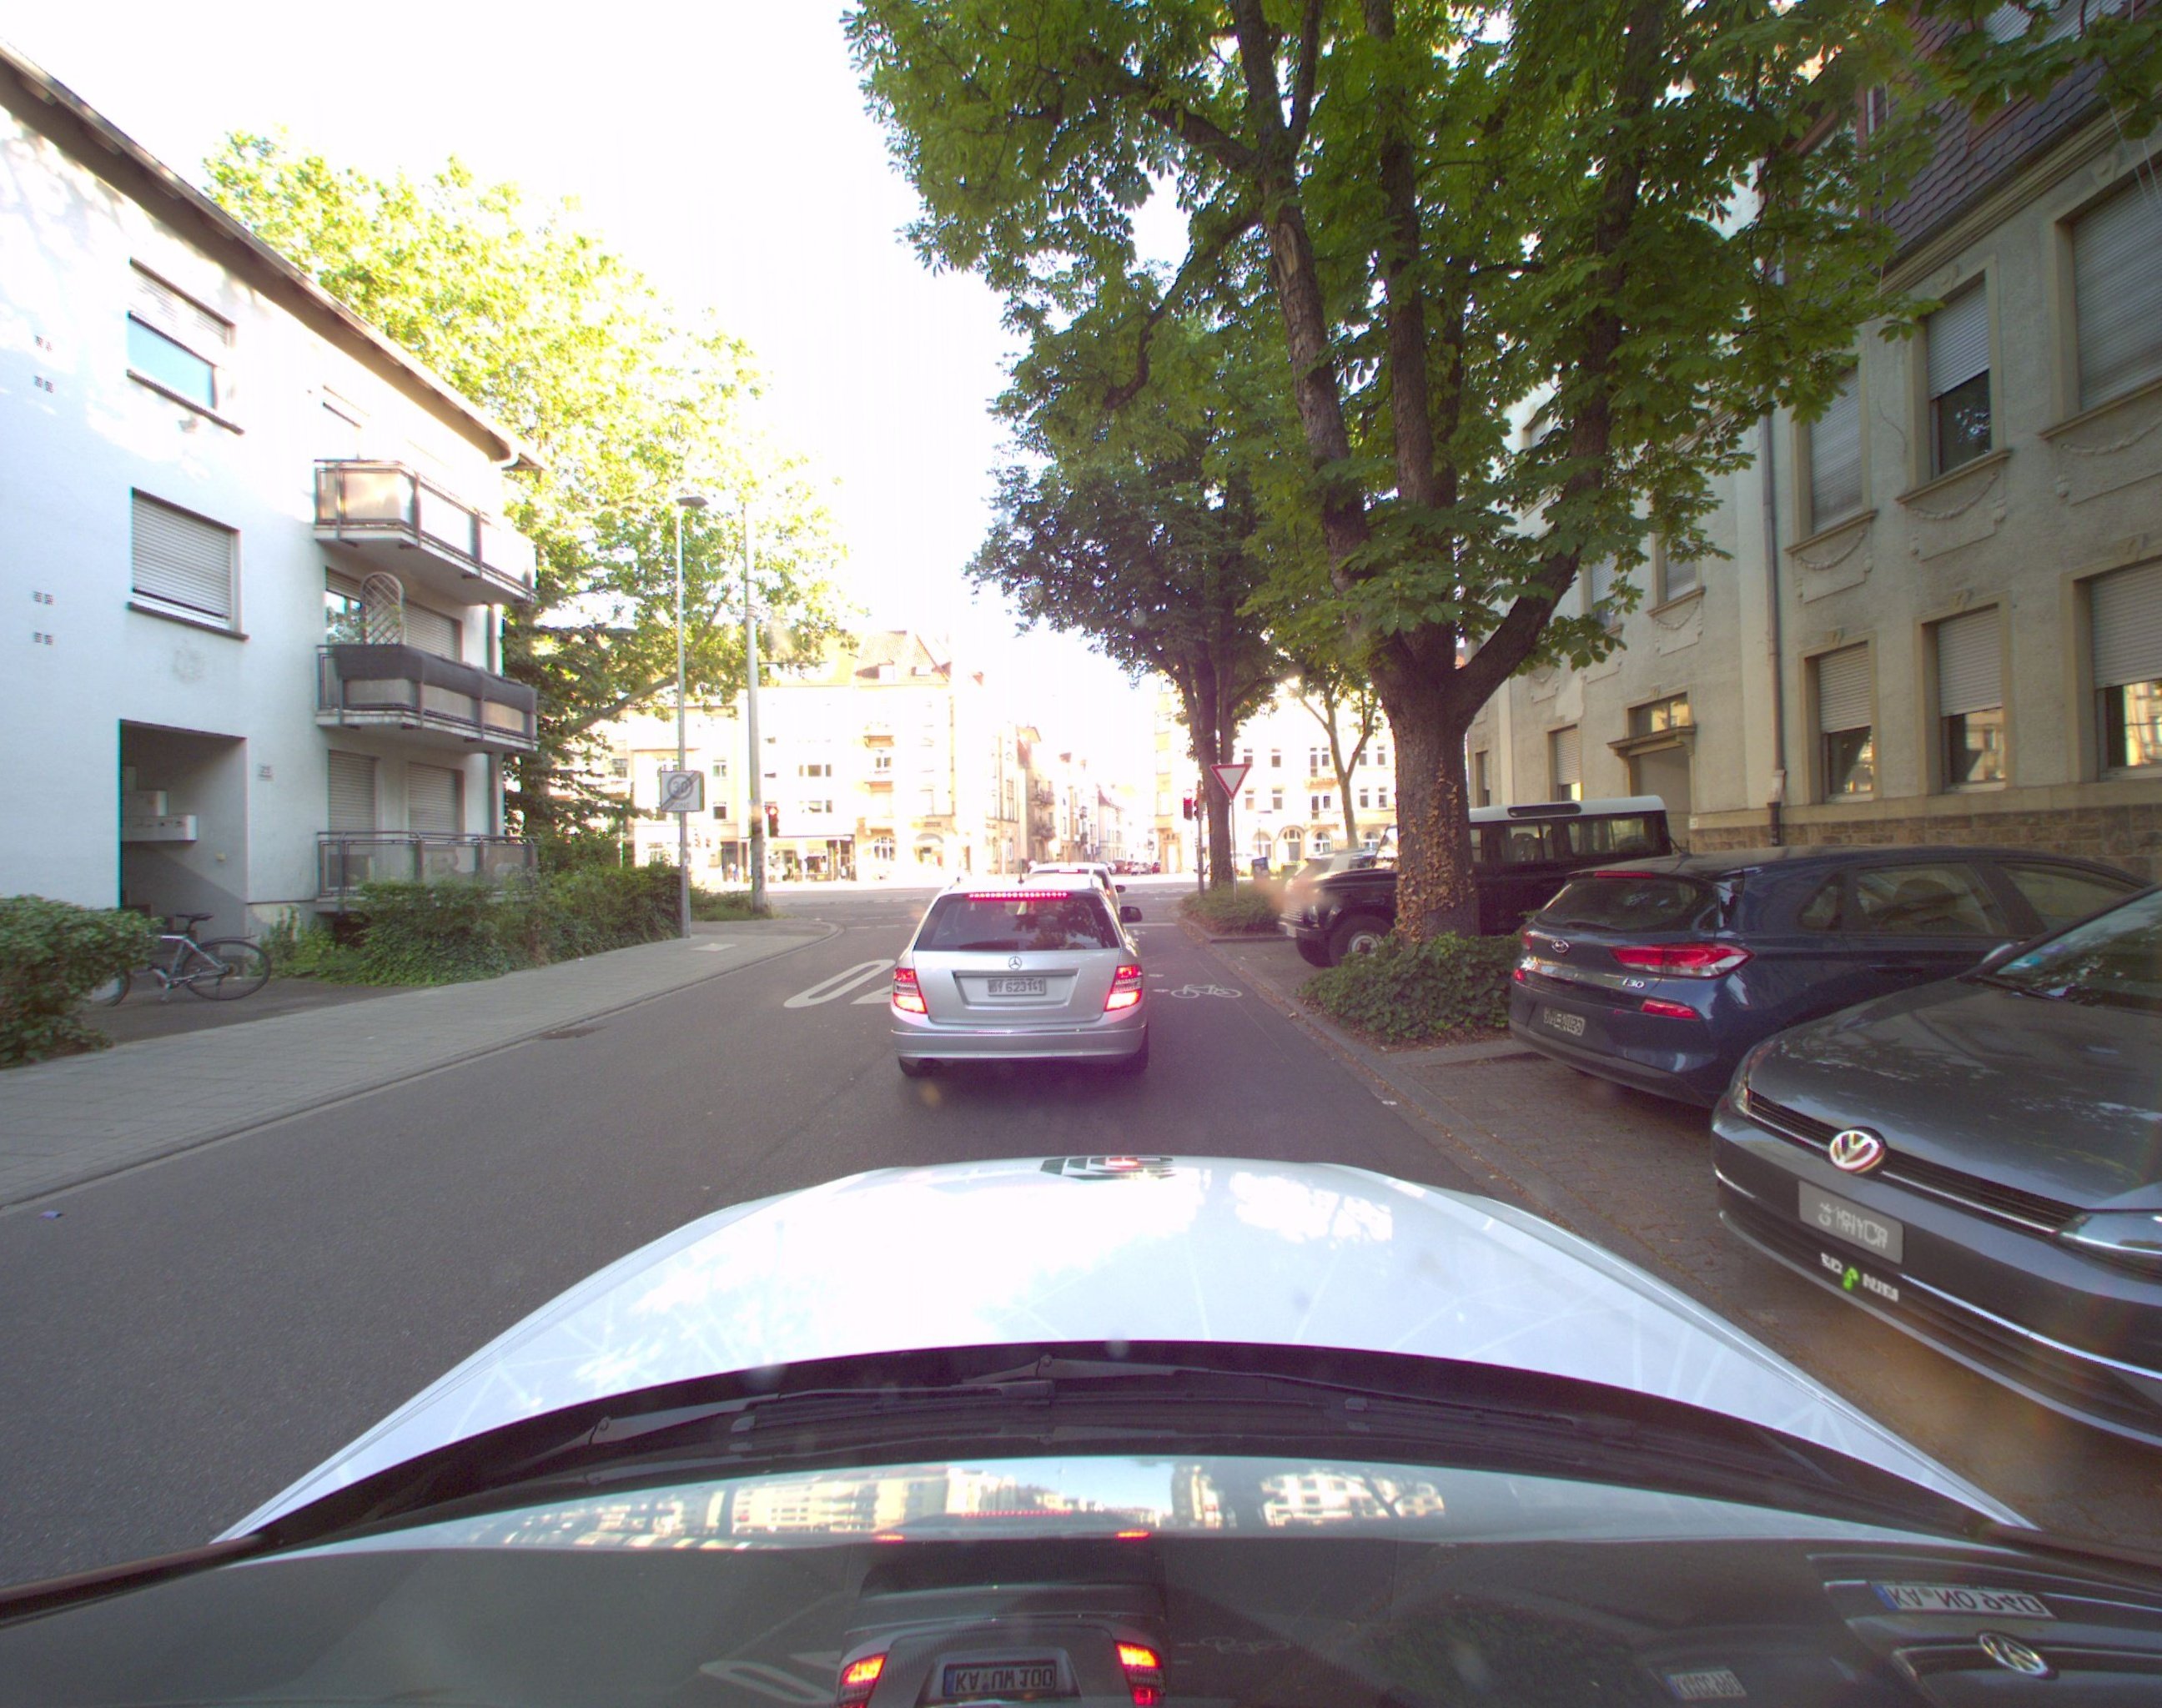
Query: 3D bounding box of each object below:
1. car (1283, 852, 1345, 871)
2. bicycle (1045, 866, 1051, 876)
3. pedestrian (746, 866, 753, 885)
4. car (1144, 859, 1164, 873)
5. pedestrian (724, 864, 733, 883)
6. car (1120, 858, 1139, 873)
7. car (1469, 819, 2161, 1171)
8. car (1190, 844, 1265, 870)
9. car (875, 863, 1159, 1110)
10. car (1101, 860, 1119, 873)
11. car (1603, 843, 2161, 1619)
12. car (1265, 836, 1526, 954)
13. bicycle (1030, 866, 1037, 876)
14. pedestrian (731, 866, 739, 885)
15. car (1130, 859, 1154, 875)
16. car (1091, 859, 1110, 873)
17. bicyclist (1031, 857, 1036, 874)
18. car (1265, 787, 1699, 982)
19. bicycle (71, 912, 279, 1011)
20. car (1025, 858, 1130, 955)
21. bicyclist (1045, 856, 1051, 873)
[{"bbox_3d":[14.232,0.462,49.825,3.352,1.069,1.380,-2,0,0],"label":"car"},{"bbox_3d":[-2.991,1.512,73.698,0.567,0.834,1.564,-2,0,-1],"label":"bicycle"},{"bbox_3d":[-26.286,1.715,64.626,0.474,1.511,0.428,-1,0,-18],"label":"pedestrian"},{"bbox_3d":[9.182,1.455,102.040,1.709,1.478,4.016,-6,-1,14],"label":"car"},{"bbox_3d":[-27.589,1.516,63.721,0.566,1.511,0.499,-1,0,-17],"label":"pedestrian"},{"bbox_3d":[6.402,1.514,107.633,1.926,1.958,4.161,-2,0,10],"label":"car"},{"bbox_3d":[4.439,0.611,4.521,3.739,1.422,1.627,-3,-1,-2],"label":"car"},{"bbox_3d":[9.189,0.194,51.120,4.289,1.461,1.779,-2,1,-13],"label":"car"},{"bbox_3d":[-0.398,0.808,6.611,1.685,1.429,3.491,0,0,-1],"label":"car"},{"bbox_3d":[3.926,1.669,108.803,1.639,1.604,3.876,-1,-1,13],"label":"car"},{"bbox_3d":[4.050,0.662,2.330,4.037,1.422,1.627,-3,-1,-2],"label":"car"},{"bbox_3d":[4.929,0.610,13.067,3.475,1.586,1.708,-3,0,-5],"label":"car"},{"bbox_3d":[-4.285,1.554,73.678,0.567,0.834,1.564,-2,0,-1],"label":"bicycle"},{"bbox_3d":[-27.629,1.738,64.974,0.511,1.511,0.532,-1,0,-26],"label":"pedestrian"},{"bbox_3d":[6.436,1.316,85.905,1.708,1.478,4.016,-3,0,14],"label":"car"},{"bbox_3d":[2.511,1.531,102.543,1.639,1.783,3.876,-1,-1,13],"label":"car"},{"bbox_3d":[-4.293,1.017,73.624,0.465,1.514,0.655,-1,0,-2],"label":"bicyclist"},{"bbox_3d":[4.787,0.347,10.186,4.478,1.956,1.792,-3,0,-1],"label":"car"},{"bbox_3d":[-10.009,1.160,9.071,1.469,0.975,0.402,1,-2,-38],"label":"bicycle"},{"bbox_3d":[-0.040,0.784,13.856,1.528,1.391,3.599,-1,0,0],"label":"car"},{"bbox_3d":[-3.007,0.990,73.765,0.465,1.521,0.693,-1,0,-2],"label":"bicyclist"}]
